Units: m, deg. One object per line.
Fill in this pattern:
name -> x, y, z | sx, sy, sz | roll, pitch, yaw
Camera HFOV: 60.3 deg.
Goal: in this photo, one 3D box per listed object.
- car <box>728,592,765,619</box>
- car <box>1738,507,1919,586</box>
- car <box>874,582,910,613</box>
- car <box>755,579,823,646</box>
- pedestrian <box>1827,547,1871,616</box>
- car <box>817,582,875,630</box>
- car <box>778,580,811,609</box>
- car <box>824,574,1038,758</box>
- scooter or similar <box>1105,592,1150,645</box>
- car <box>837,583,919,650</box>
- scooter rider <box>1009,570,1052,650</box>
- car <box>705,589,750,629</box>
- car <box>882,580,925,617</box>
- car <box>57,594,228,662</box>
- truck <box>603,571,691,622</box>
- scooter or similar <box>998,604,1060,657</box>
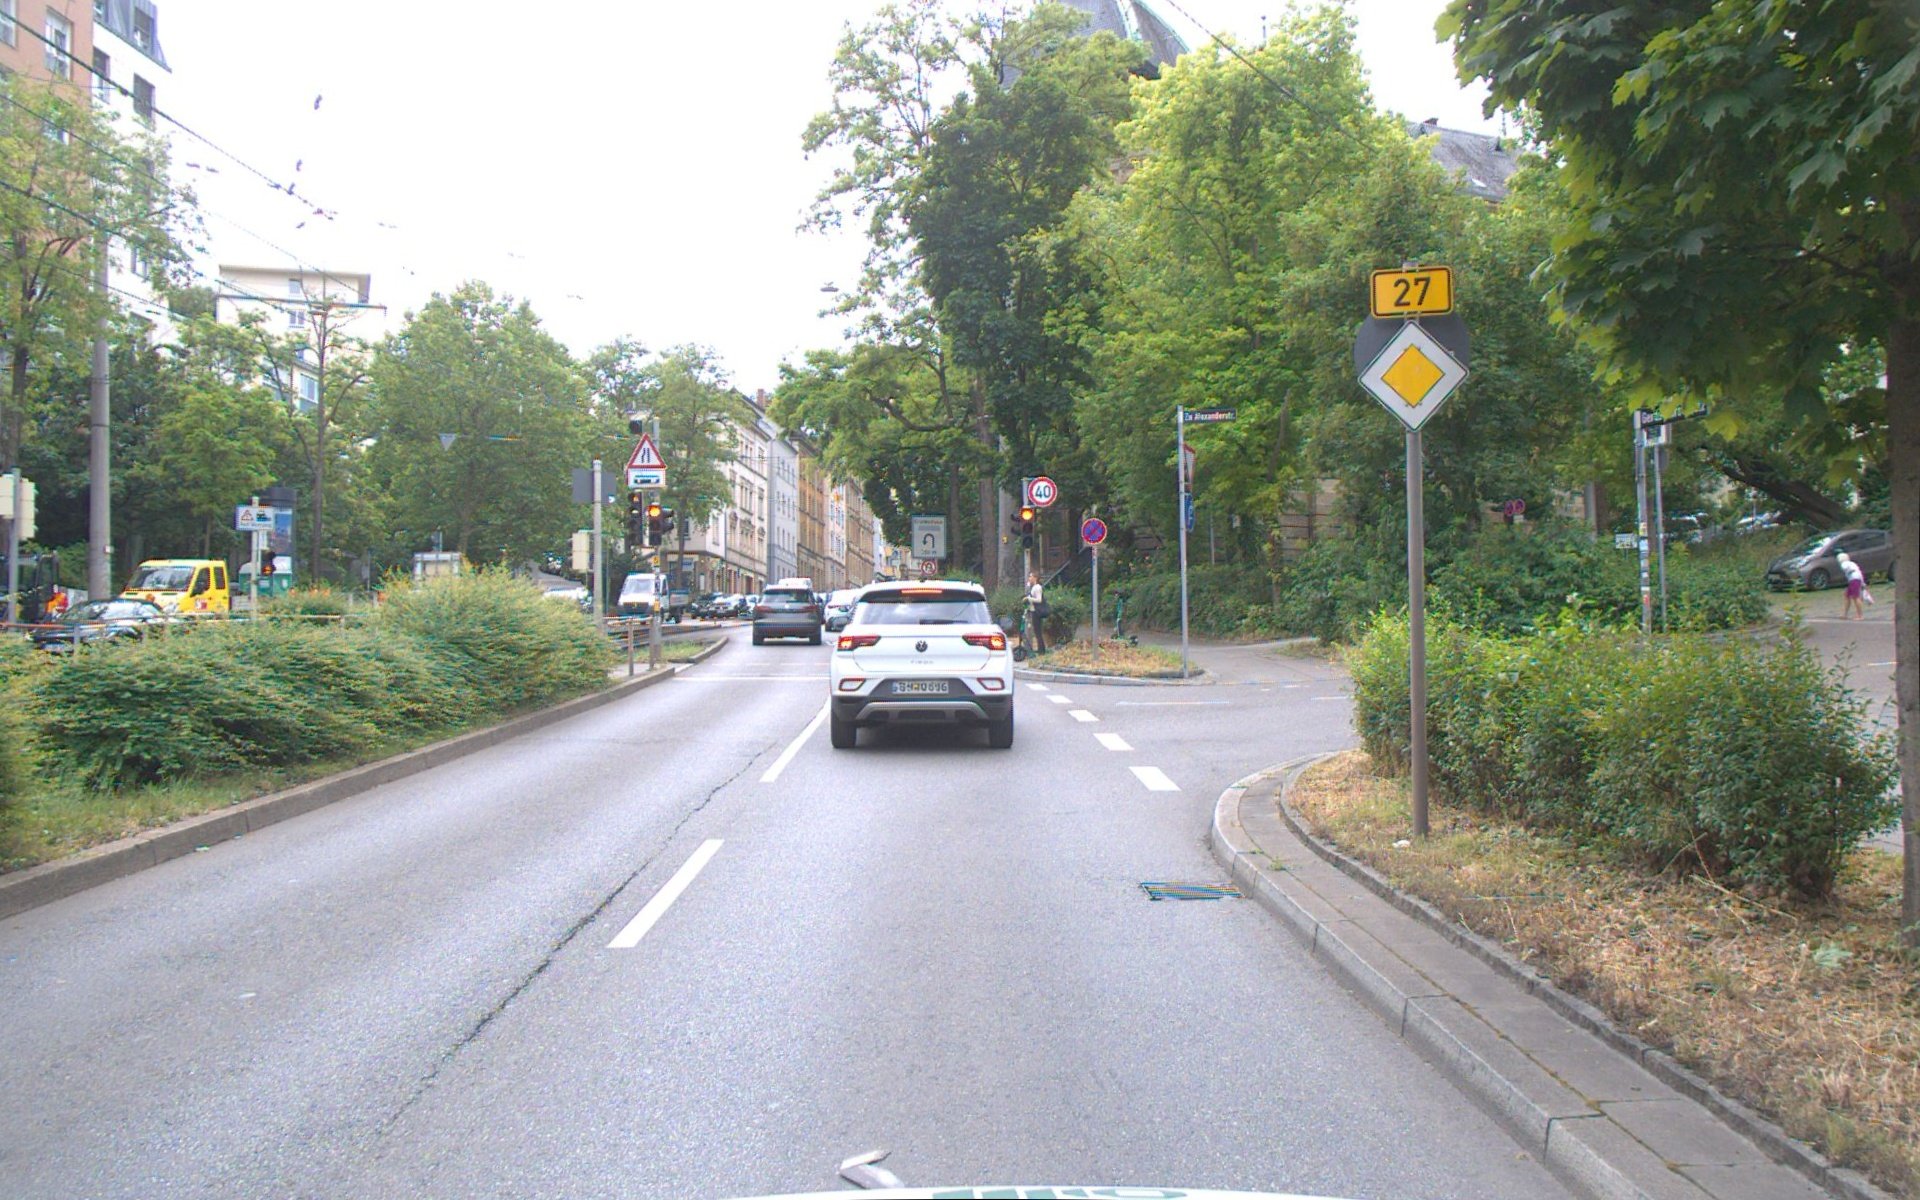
car -> -14.507, 0.383, 112.660 | 1.953, 1.652, 3.998 | 2, -2, -1
car -> 24.082, -1.467, 45.903 | 4.052, 2.049, 1.996 | -1, 0, -8
car -> -5.033, -0.214, 123.960 | 2.372, 2.207, 6.033 | -1, 0, 0
car -> -4.826, 0.314, 47.148 | 1.803, 1.770, 3.997 | -1, 1, -5
pedestrian -> 20.072, -0.411, 37.351 | 0.551, 1.526, 0.672 | -1, 0, -27
car -> -4.097, 0.220, 60.103 | 1.953, 1.651, 3.998 | -1, 0, -2
car -> -11.749, -0.392, 117.755 | 1.953, 2.049, 3.999 | -1, 0, -1
car -> -0.375, 0.557, 16.829 | 1.900, 1.594, 4.044 | -1, 1, -4
scooter or similar -> 3.630, 0.405, 35.946 | 0.466, 1.119, 1.362 | -1, -1, -16
car -> -2.230, 0.480, 44.199 | 1.867, 1.602, 3.827 | 2, -2, -7
scooter rider -> 1.411, 0.199, 33.115 | 0.762, 1.585, 0.532 | -1, 0, -4
car -> -13.140, 0.520, 93.610 | 1.953, 2.049, 3.998 | 2, -2, -1
car -> -3.520, -0.110, 103.653 | 2.372, 2.207, 6.033 | -1, 0, 0
car -> -17.059, 0.582, 34.727 | 1.705, 1.346, 4.064 | 0, -1, -3
truck -> -14.478, -0.178, 76.925 | 2.371, 2.207, 6.037 | 2, 1, 5
scooter or similar -> 1.377, 0.602, 33.139 | 1.164, 1.011, 0.531 | -1, 0, -4
